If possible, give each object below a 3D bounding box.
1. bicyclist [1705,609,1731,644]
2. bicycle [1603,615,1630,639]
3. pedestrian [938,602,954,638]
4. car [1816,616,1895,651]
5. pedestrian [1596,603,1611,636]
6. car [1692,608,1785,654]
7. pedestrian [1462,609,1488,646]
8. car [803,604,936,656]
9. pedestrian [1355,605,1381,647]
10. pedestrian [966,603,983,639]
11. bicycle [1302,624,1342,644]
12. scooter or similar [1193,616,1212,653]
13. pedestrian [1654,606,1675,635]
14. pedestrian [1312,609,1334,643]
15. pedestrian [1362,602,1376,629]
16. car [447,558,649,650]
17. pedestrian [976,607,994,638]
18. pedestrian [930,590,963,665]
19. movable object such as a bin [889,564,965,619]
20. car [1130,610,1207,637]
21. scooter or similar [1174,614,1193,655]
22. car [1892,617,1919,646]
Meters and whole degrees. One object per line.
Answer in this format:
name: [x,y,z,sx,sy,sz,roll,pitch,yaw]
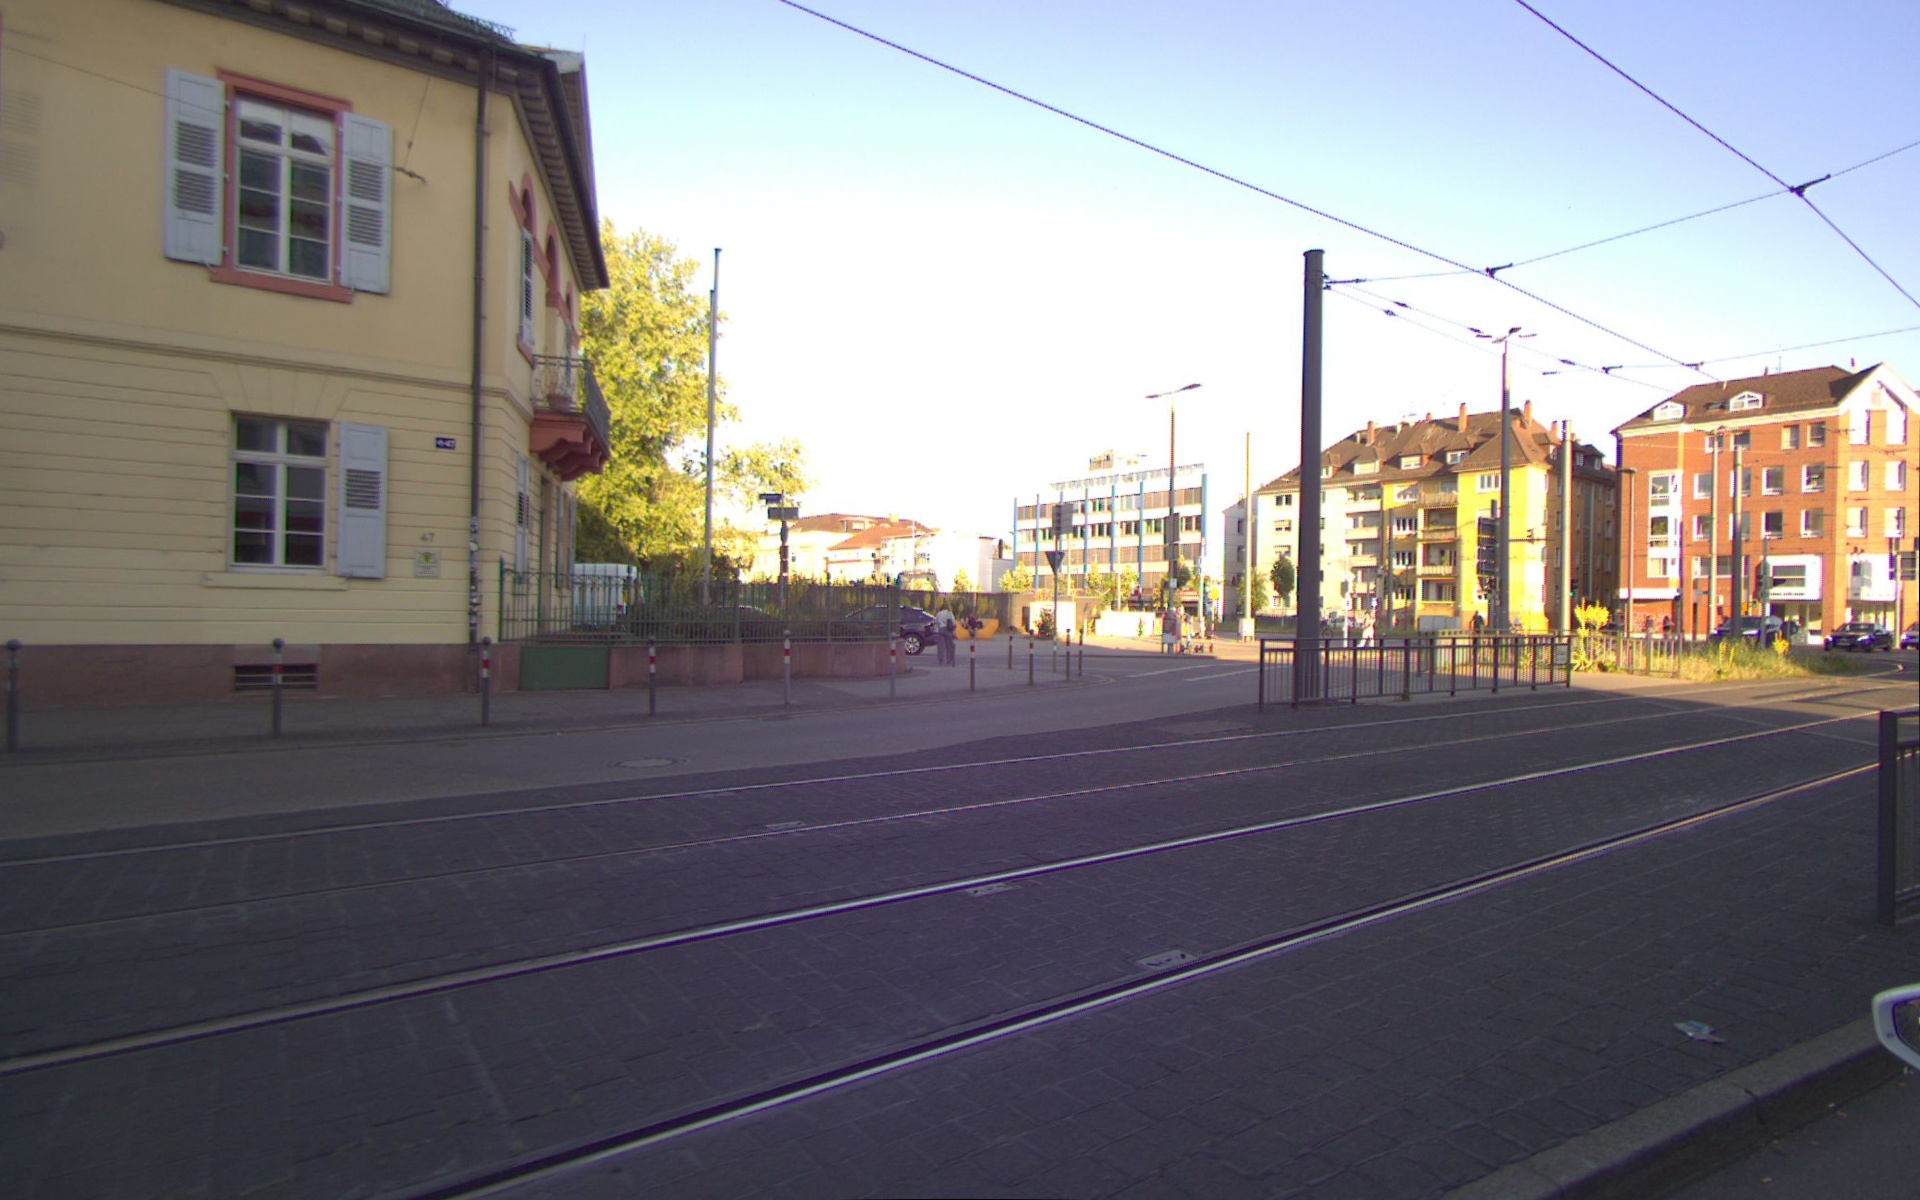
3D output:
bicyclist: [38.041,1.329,50.392,0.967,1.711,0.660,1,0,-26]
bicycle: [38.310,1.561,58.625,1.997,1.343,0.613,1,2,-37]
pedestrian: [-0.668,0.943,47.795,0.527,1.681,0.598,1,0,38]
car: [44.538,1.646,49.962,4.541,1.606,1.980,1,0,-35]
pedestrian: [37.732,1.159,58.893,0.558,1.893,0.498,1,2,-38]
car: [34.476,1.336,44.423,4.764,1.926,1.980,1,0,-36]
pedestrian: [28.069,1.473,54.745,1.083,1.970,1.020,1,0,39]
car: [-2.750,0.956,31.184,3.921,1.505,2.001,1,-3,0]
pedestrian: [18.760,1.189,46.205,0.871,1.893,0.973,1,0,37]
pedestrian: [0.691,0.992,48.058,0.595,1.681,0.529,1,0,-40]
bicycle: [21.067,1.958,58.514,0.889,1.074,1.984,1,0,-43]
scooter or similar: [8.821,1.249,36.608,0.507,1.289,1.257,1,0,6]
pedestrian: [47.399,1.376,67.585,0.832,1.893,0.931,0,2,-41]
pedestrian: [21.119,1.505,58.455,0.889,1.936,0.835,1,0,-43]
pedestrian: [29.567,1.114,72.643,0.709,1.893,0.882,1,0,38]
car: [-12.608,0.137,30.957,5.318,2.665,2.098,1,0,1]
pedestrian: [1.193,1.090,48.608,0.618,1.515,0.636,1,0,-33]
pedestrian: [-0.356,0.702,25.926,0.751,1.918,0.728,1,0,-9]
movable object such as a bin: [-2.055,-0.482,62.258,4.276,3.272,1.992,1,0,-19]
car: [13.427,1.485,64.824,4.491,1.639,1.993,1,0,36]
scooter or similar: [8.167,1.235,36.705,0.507,1.465,1.257,1,0,4]
car: [55.566,1.800,58.020,4.078,1.606,1.978,1,-1,-39]
